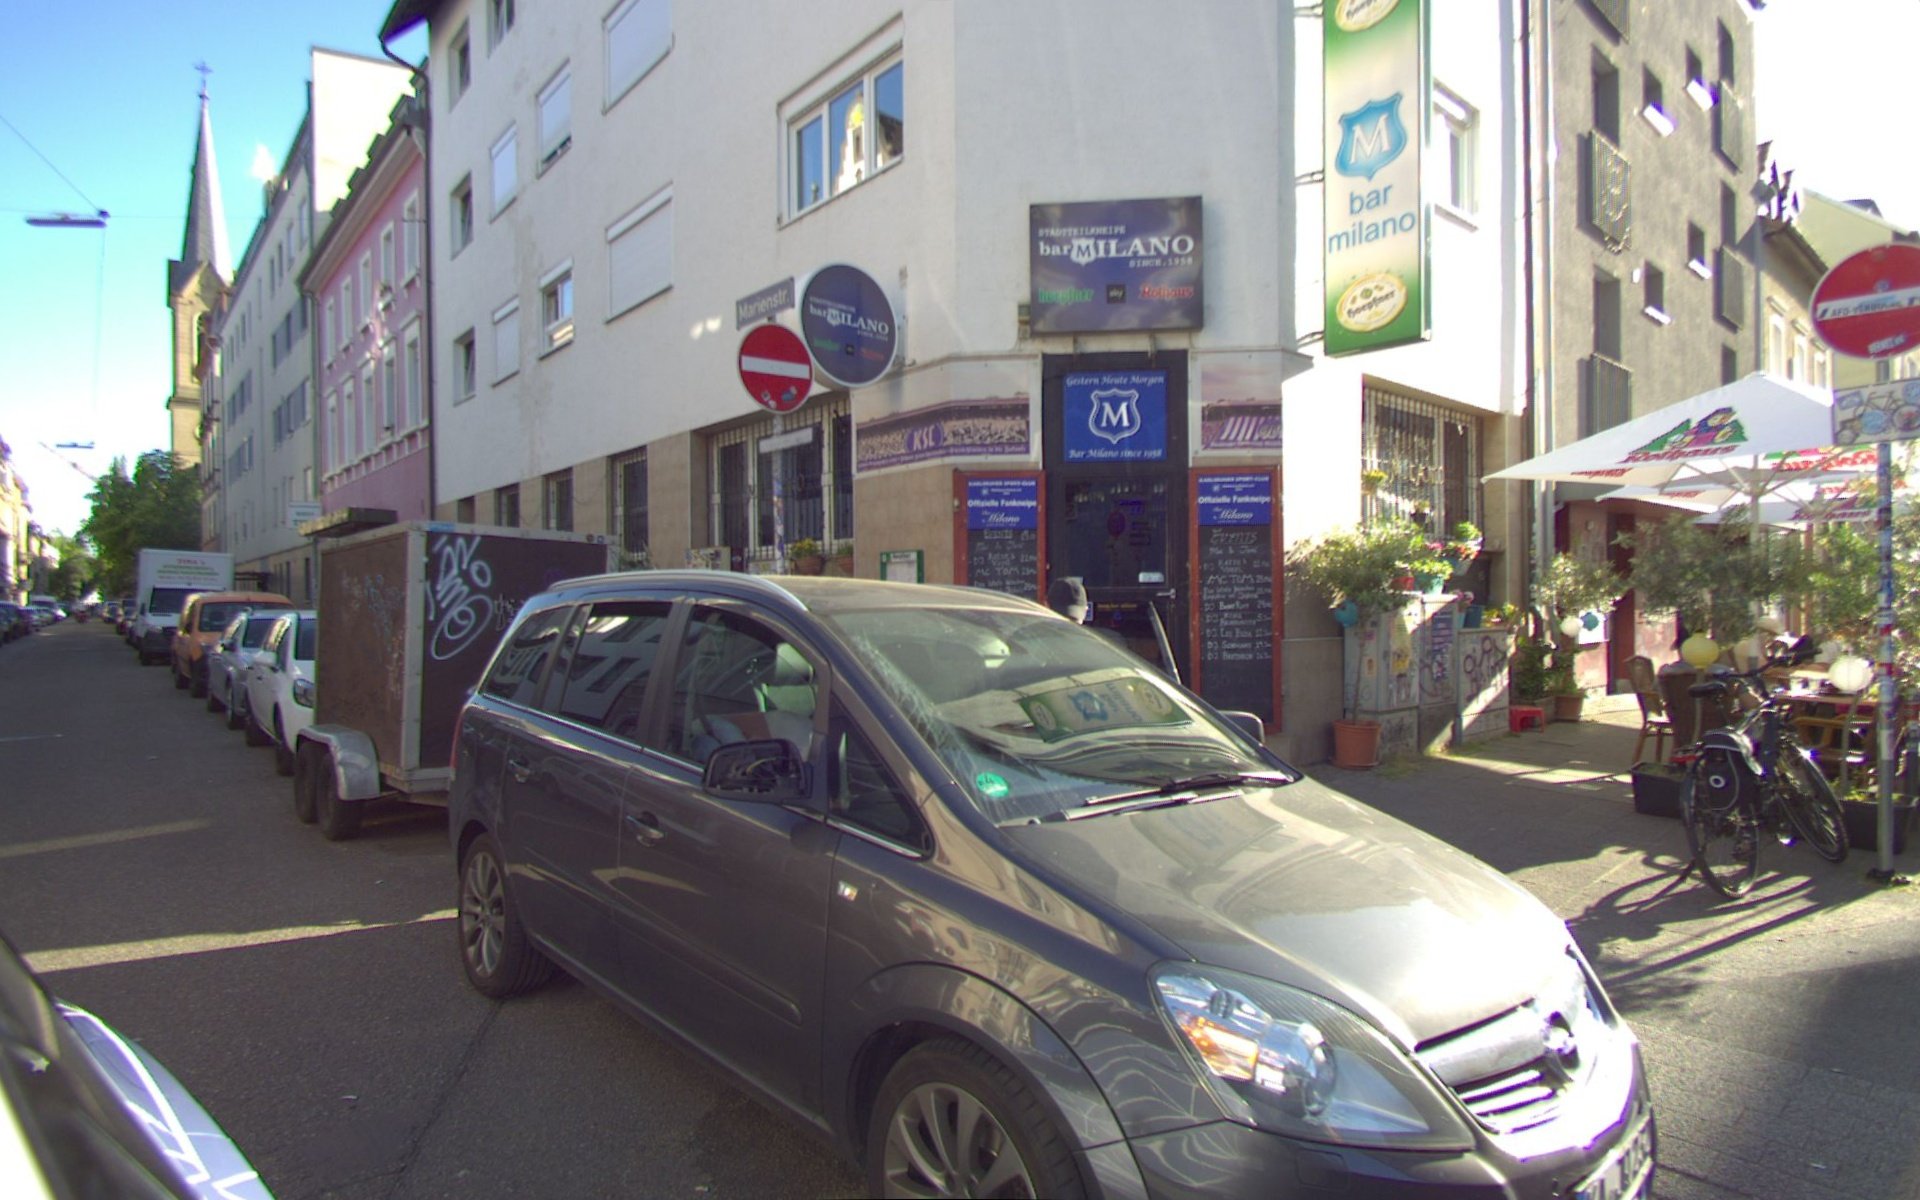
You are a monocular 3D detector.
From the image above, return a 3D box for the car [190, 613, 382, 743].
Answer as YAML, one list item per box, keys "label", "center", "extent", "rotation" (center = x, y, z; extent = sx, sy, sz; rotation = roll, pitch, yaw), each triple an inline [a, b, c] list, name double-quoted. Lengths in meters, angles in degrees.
- label: "car"
  center: [-9.583, 0.960, 14.226]
  extent: [1.653, 1.508, 4.537]
  rotation: [2, -1, -41]

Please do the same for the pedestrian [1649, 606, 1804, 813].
- label: "pedestrian"
  center: [5.147, 0.686, 6.800]
  extent: [0.677, 1.275, 0.661]
  rotation: [-2, 1, -37]

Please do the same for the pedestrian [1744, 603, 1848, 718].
- label: "pedestrian"
  center: [8.819, 0.625, 10.697]
  extent: [0.535, 1.153, 0.659]
  rotation: [-1, 1, 3]

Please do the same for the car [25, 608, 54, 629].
- label: "car"
  center: [-93.704, 1.872, 103.004]
  extent: [1.971, 2.029, 4.567]
  rotation: [-2, 1, -44]

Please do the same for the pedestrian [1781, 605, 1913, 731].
- label: "pedestrian"
  center: [8.591, 0.643, 9.822]
  extent: [0.680, 1.153, 0.659]
  rotation: [-1, 1, 3]

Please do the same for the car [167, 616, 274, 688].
- label: "car"
  center: [-16.932, 1.127, 23.121]
  extent: [1.662, 1.477, 3.665]
  rotation: [1, -1, -41]

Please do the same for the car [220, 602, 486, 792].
- label: "car"
  center: [-6.305, 0.823, 10.325]
  extent: [1.656, 1.566, 3.823]
  rotation: [2, -1, -41]

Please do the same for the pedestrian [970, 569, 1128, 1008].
- label: "pedestrian"
  center: [0.388, 0.704, 4.168]
  extent: [0.574, 1.656, 0.629]
  rotation: [0, 2, 11]

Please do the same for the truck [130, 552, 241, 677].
- label: "truck"
  center: [-22.560, 0.401, 29.333]
  extent: [2.262, 3.207, 7.056]
  rotation: [1, -1, -40]

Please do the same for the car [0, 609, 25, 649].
- label: "car"
  center: [-45.330, 1.352, 47.719]
  extent: [1.688, 1.826, 4.226]
  rotation: [2, -1, -41]

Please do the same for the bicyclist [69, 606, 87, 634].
- label: "bicyclist"
  center: [-73.986, 1.678, 84.895]
  extent: [1.533, 2.310, 1.005]
  rotation: [-1, 1, 44]

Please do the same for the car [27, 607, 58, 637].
- label: "car"
  center: [-87.919, 2.086, 96.988]
  extent: [1.971, 2.814, 4.567]
  rotation: [-2, 1, -44]

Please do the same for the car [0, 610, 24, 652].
- label: "car"
  center: [-41.794, 1.316, 43.819]
  extent: [1.688, 1.744, 4.226]
  rotation: [2, -1, -41]

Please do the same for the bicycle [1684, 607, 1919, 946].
- label: "bicycle"
  center: [4.645, 0.731, 5.200]
  extent: [2.445, 1.369, 0.930]
  rotation: [0, 0, -40]

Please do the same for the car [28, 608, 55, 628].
- label: "car"
  center: [-97.412, 1.902, 107.298]
  extent: [1.971, 2.029, 4.567]
  rotation: [-2, 1, -44]

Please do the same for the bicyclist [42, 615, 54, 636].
- label: "bicyclist"
  center: [-76.450, 2.116, 84.851]
  extent: [0.705, 1.672, 0.878]
  rotation: [-2, 1, -43]

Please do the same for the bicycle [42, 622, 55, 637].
- label: "bicycle"
  center: [-76.430, 2.471, 84.846]
  extent: [0.718, 1.189, 2.491]
  rotation: [-2, 1, -43]

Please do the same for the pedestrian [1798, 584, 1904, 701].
- label: "pedestrian"
  center: [10.112, 0.461, 11.496]
  extent: [0.649, 1.275, 0.616]
  rotation: [-1, 1, -11]

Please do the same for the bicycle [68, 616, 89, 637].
- label: "bicycle"
  center: [-74.013, 2.213, 84.945]
  extent: [3.549, 1.663, 1.005]
  rotation: [-1, 1, 45]

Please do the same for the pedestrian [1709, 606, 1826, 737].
- label: "pedestrian"
  center: [7.683, 0.654, 9.637]
  extent: [0.649, 1.163, 0.683]
  rotation: [-2, 1, -32]

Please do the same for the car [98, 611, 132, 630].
- label: "car"
  center: [-73.491, 1.776, 87.978]
  extent: [1.899, 1.542, 4.567]
  rotation: [-2, 1, -44]

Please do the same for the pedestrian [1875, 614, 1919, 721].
- label: "pedestrian"
  center: [10.006, 0.687, 10.461]
  extent: [0.712, 1.061, 0.680]
  rotation: [-2, 1, -37]

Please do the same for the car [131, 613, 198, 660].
- label: "car"
  center: [-29.194, 1.318, 37.084]
  extent: [1.662, 1.600, 3.920]
  rotation: [3, -3, -41]

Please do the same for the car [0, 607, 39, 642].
- label: "car"
  center: [-59.612, 1.523, 63.899]
  extent: [1.971, 2.029, 4.567]
  rotation: [-2, 1, -44]

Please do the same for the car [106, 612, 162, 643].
- label: "car"
  center: [-44.307, 1.437, 54.228]
  extent: [1.899, 1.542, 4.567]
  rotation: [-2, 1, -44]

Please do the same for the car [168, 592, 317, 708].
- label: "car"
  center: [-13.147, 0.821, 18.433]
  extent: [1.780, 1.859, 4.250]
  rotation: [1, -1, -41]

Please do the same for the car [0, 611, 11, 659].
- label: "car"
  center: [-37.437, 1.306, 38.567]
  extent: [1.688, 1.744, 4.226]
  rotation: [2, -1, -41]

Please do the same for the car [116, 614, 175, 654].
- label: "car"
  center: [-33.074, 1.357, 41.071]
  extent: [1.662, 1.502, 3.920]
  rotation: [3, -3, -41]

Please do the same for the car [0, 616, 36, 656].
- label: "car"
  center: [-51.054, 1.917, 54.373]
  extent: [1.970, 2.029, 4.569]
  rotation: [-2, 1, -43]

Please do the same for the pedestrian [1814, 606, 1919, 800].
- label: "pedestrian"
  center: [6.649, 0.697, 7.197]
  extent: [0.837, 1.275, 0.708]
  rotation: [-2, 1, -37]

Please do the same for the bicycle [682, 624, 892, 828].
- label: "bicycle"
  center: [-1.159, 0.749, 6.589]
  extent: [1.462, 1.147, 0.570]
  rotation: [-1, 1, 44]

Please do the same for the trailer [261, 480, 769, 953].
- label: "trailer"
  center: [-3.154, 0.533, 6.608]
  extent: [1.642, 2.076, 4.368]
  rotation: [2, -1, -43]

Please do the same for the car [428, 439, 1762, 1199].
- label: "car"
  center: [-0.196, 0.676, 3.291]
  extent: [1.701, 1.617, 4.171]
  rotation: [2, -2, -42]

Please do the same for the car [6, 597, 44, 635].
- label: "car"
  center: [-71.166, 1.188, 76.994]
  extent: [1.971, 2.814, 4.567]
  rotation: [-2, 1, -44]
